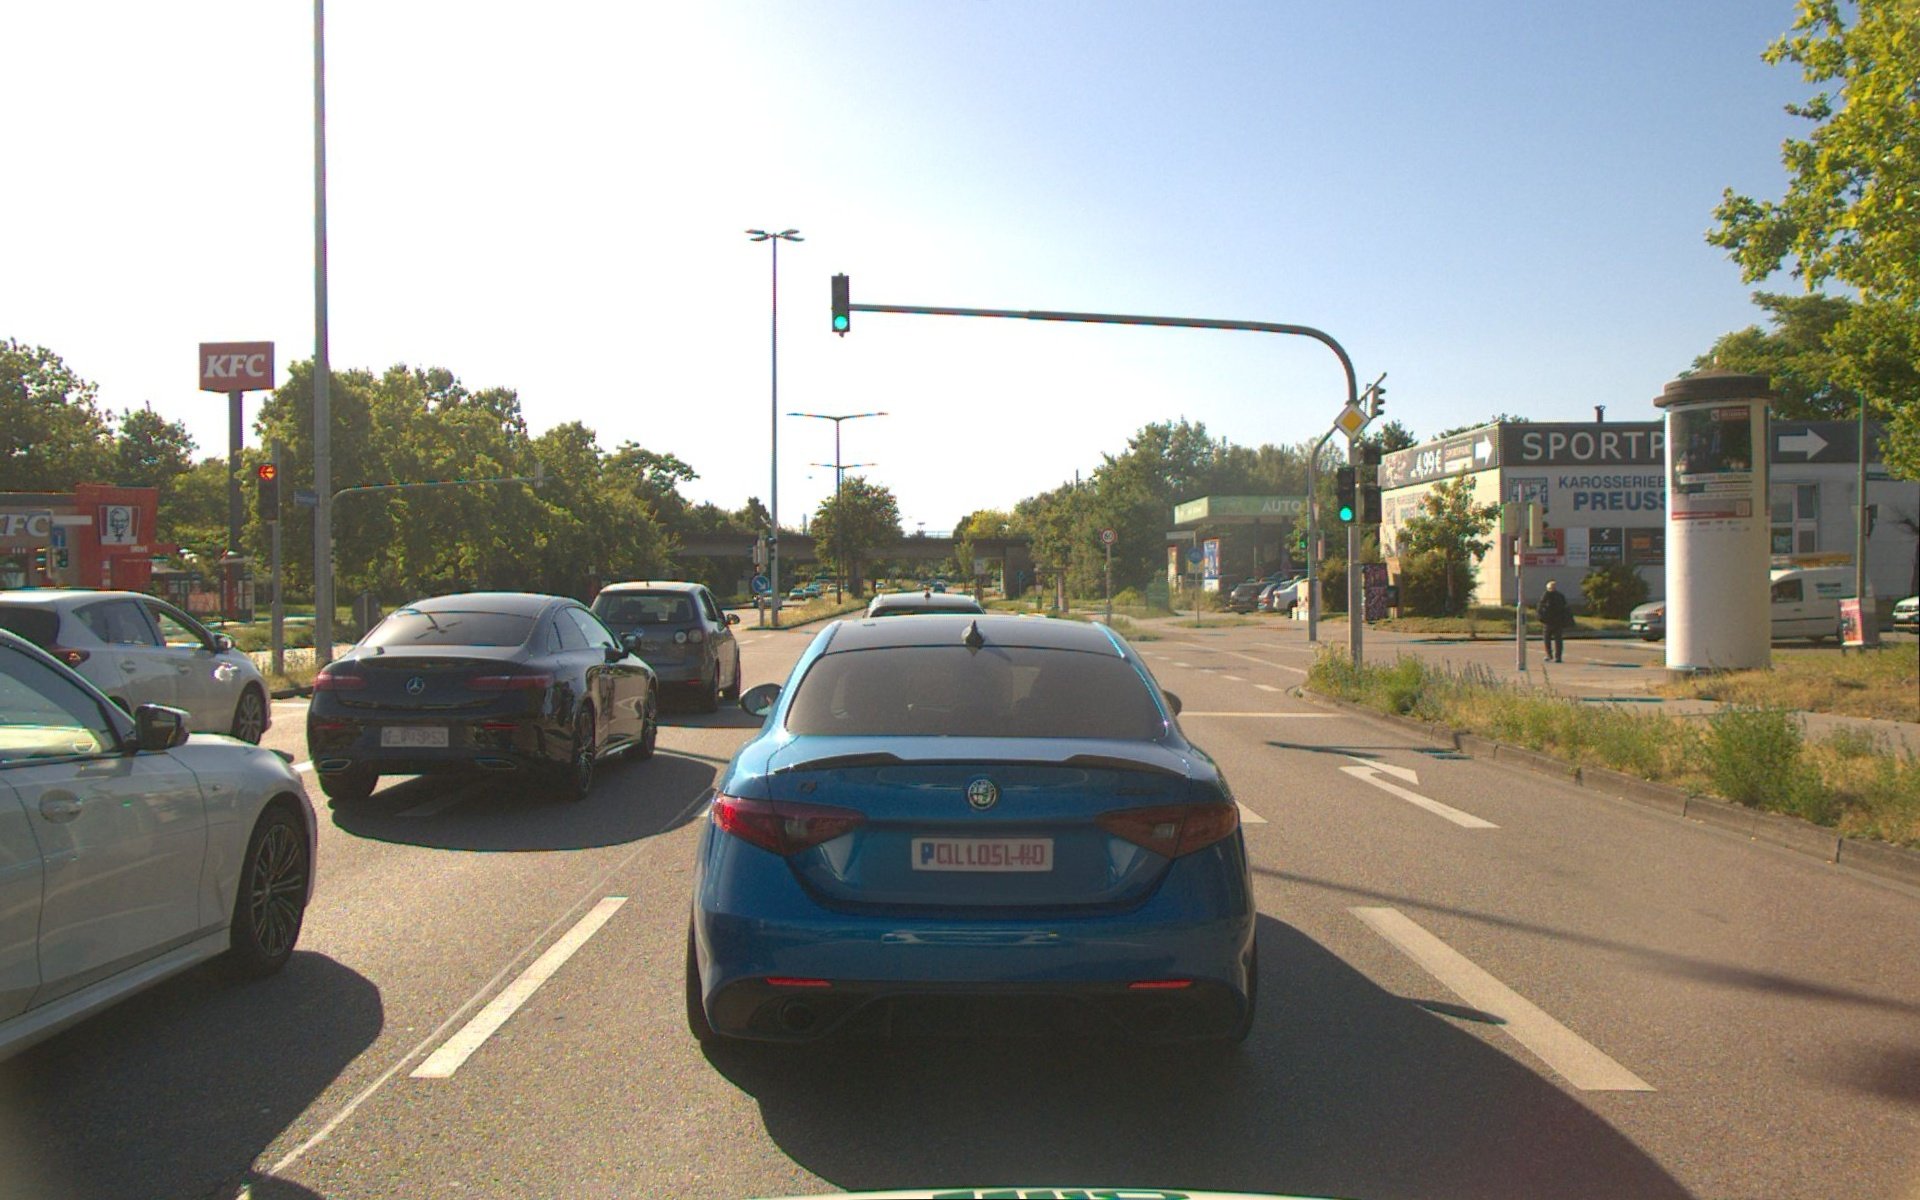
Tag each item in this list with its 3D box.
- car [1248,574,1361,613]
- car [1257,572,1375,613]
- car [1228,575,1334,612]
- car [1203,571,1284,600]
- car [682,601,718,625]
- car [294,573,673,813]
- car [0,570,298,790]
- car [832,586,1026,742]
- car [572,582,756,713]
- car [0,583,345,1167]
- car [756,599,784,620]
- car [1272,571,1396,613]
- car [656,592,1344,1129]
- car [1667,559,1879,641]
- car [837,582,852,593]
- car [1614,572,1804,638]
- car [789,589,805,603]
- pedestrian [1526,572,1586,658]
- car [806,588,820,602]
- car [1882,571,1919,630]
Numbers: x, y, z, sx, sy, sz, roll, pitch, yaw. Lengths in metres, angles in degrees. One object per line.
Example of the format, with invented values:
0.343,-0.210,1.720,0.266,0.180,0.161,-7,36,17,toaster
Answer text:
14.633,-0.283,70.314,4.397,1.479,1.858,-2,0,1,car
14.489,-0.306,67.558,4.397,1.479,1.858,-2,0,1,car
14.404,-0.273,74.361,4.397,1.479,1.858,-2,0,1,car
16.727,-0.829,97.569,4.457,1.516,1.765,-2,0,1,car
-17.570,0.865,111.749,1.723,1.516,4.477,-2,0,-1,car
-3.455,0.612,12.893,1.760,1.516,4.474,1,0,-2,car
-7.079,0.555,13.528,1.723,1.516,4.195,1,0,-2,car
-0.359,0.616,17.793,1.813,1.443,4.401,1,0,-2,car
-3.739,0.568,21.618,1.723,1.516,4.401,1,0,-2,car
-3.368,0.701,4.618,1.749,1.516,4.401,1,0,-2,car
-14.625,0.748,127.329,1.723,1.516,3.836,-2,0,-1,car
14.612,-0.307,64.781,4.397,1.479,1.858,-2,0,1,car
0.049,0.724,6.710,1.857,1.443,4.401,1,0,-2,car
19.629,-0.017,40.027,4.293,1.833,1.764,-1,2,-2,car
-15.990,-1.730,228.993,1.723,1.516,4.477,-2,0,-1,car
19.600,0.120,43.362,4.201,1.576,1.764,-1,2,-2,car
-19.051,-0.471,193.599,1.583,1.586,3.357,1,0,-1,car
12.564,0.311,34.899,0.906,1.765,0.938,1,-1,-1,pedestrian
-18.882,-0.630,212.290,1.577,1.675,3.462,1,0,-1,car
26.848,-0.053,43.701,3.960,1.516,1.782,-2,0,-3,car
